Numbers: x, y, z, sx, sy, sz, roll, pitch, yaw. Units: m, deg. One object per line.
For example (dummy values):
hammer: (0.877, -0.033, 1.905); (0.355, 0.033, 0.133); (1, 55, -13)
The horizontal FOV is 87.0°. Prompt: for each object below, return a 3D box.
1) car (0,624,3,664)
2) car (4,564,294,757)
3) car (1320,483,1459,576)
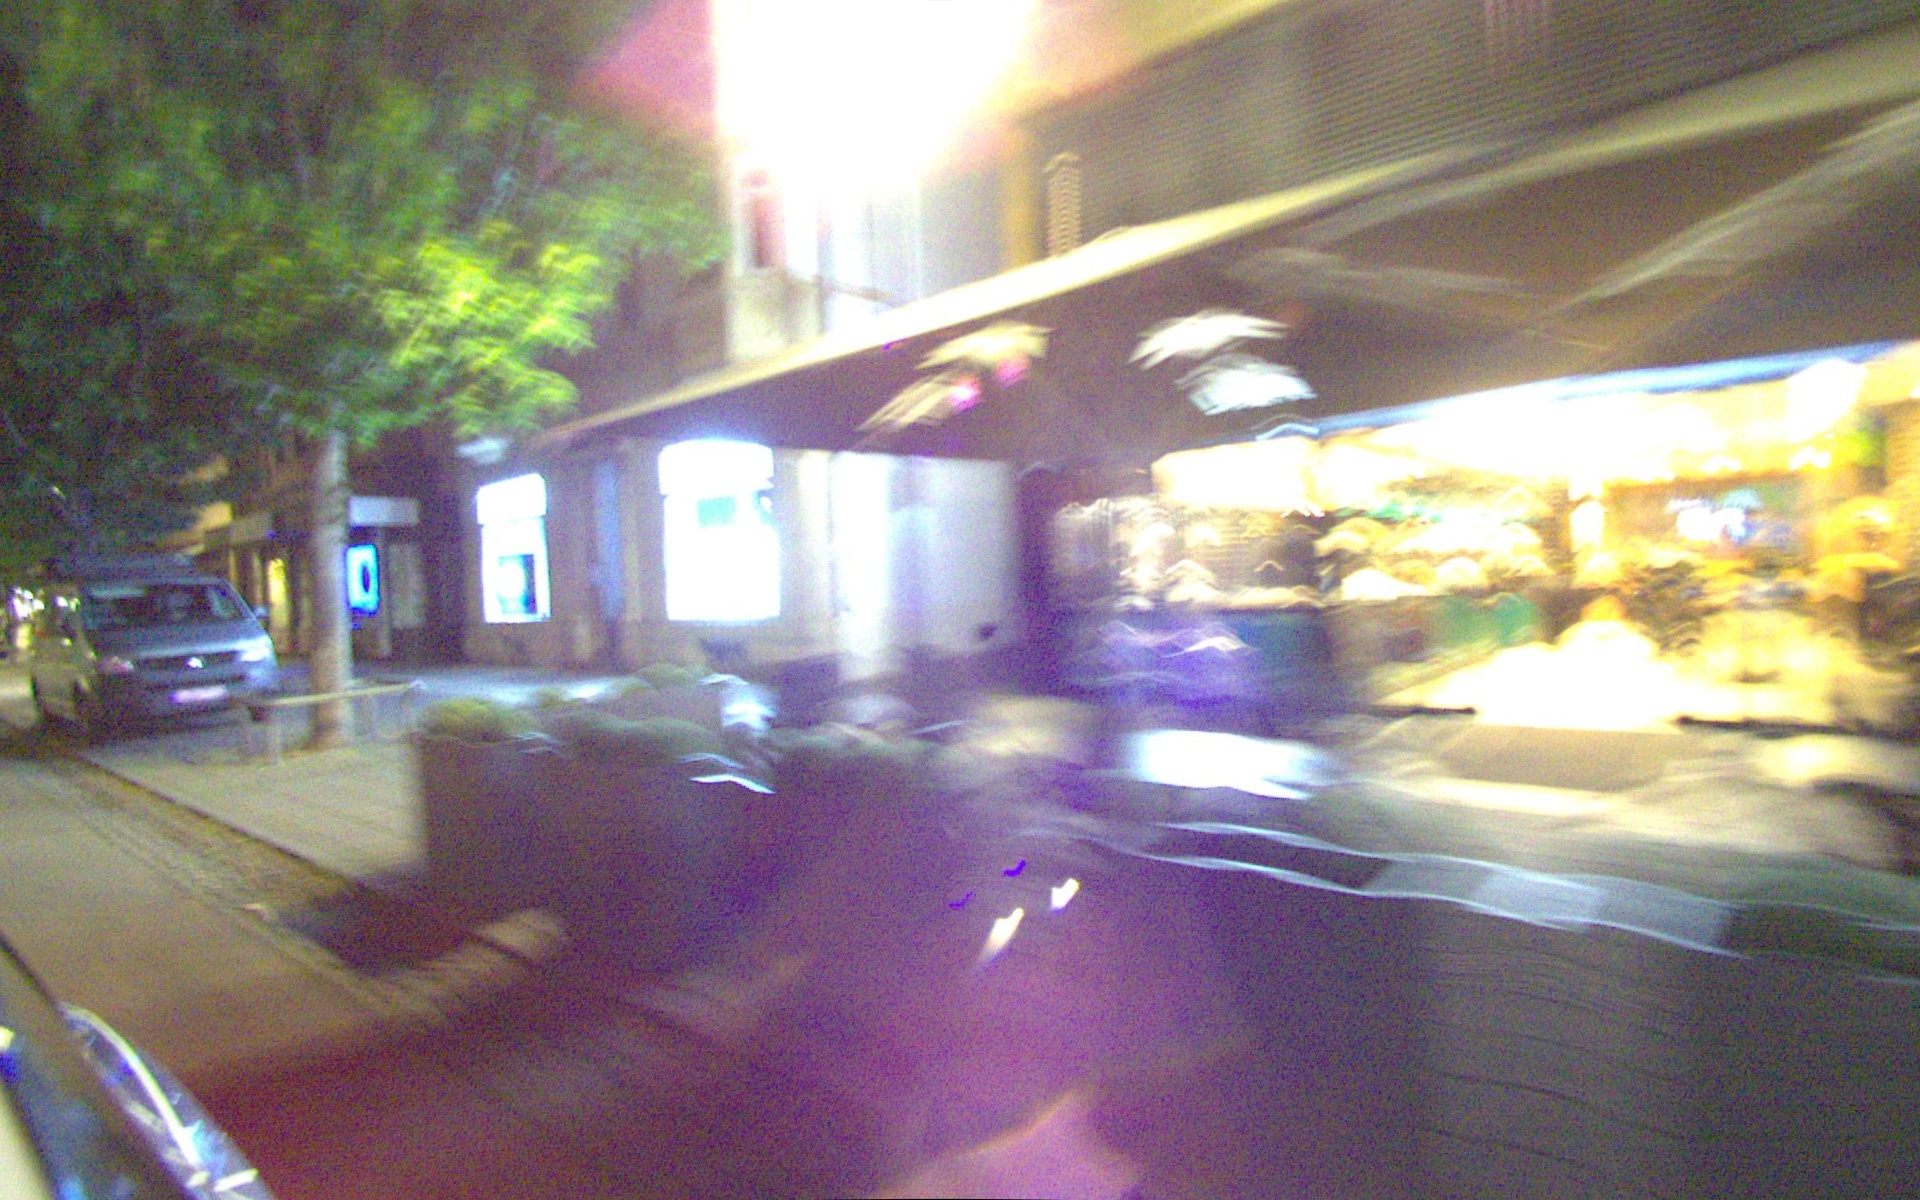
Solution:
car: (-38.230, 1.755, 38.817); (3.998, 1.516, 1.773); (-2, 2, 41)
car: (-10.658, 0.682, 13.134); (5.073, 1.979, 1.906); (-2, 2, 40)
car: (10.712, -1.688, 25.107); (1.999, 2.029, 3.946); (-2, 1, 41)
